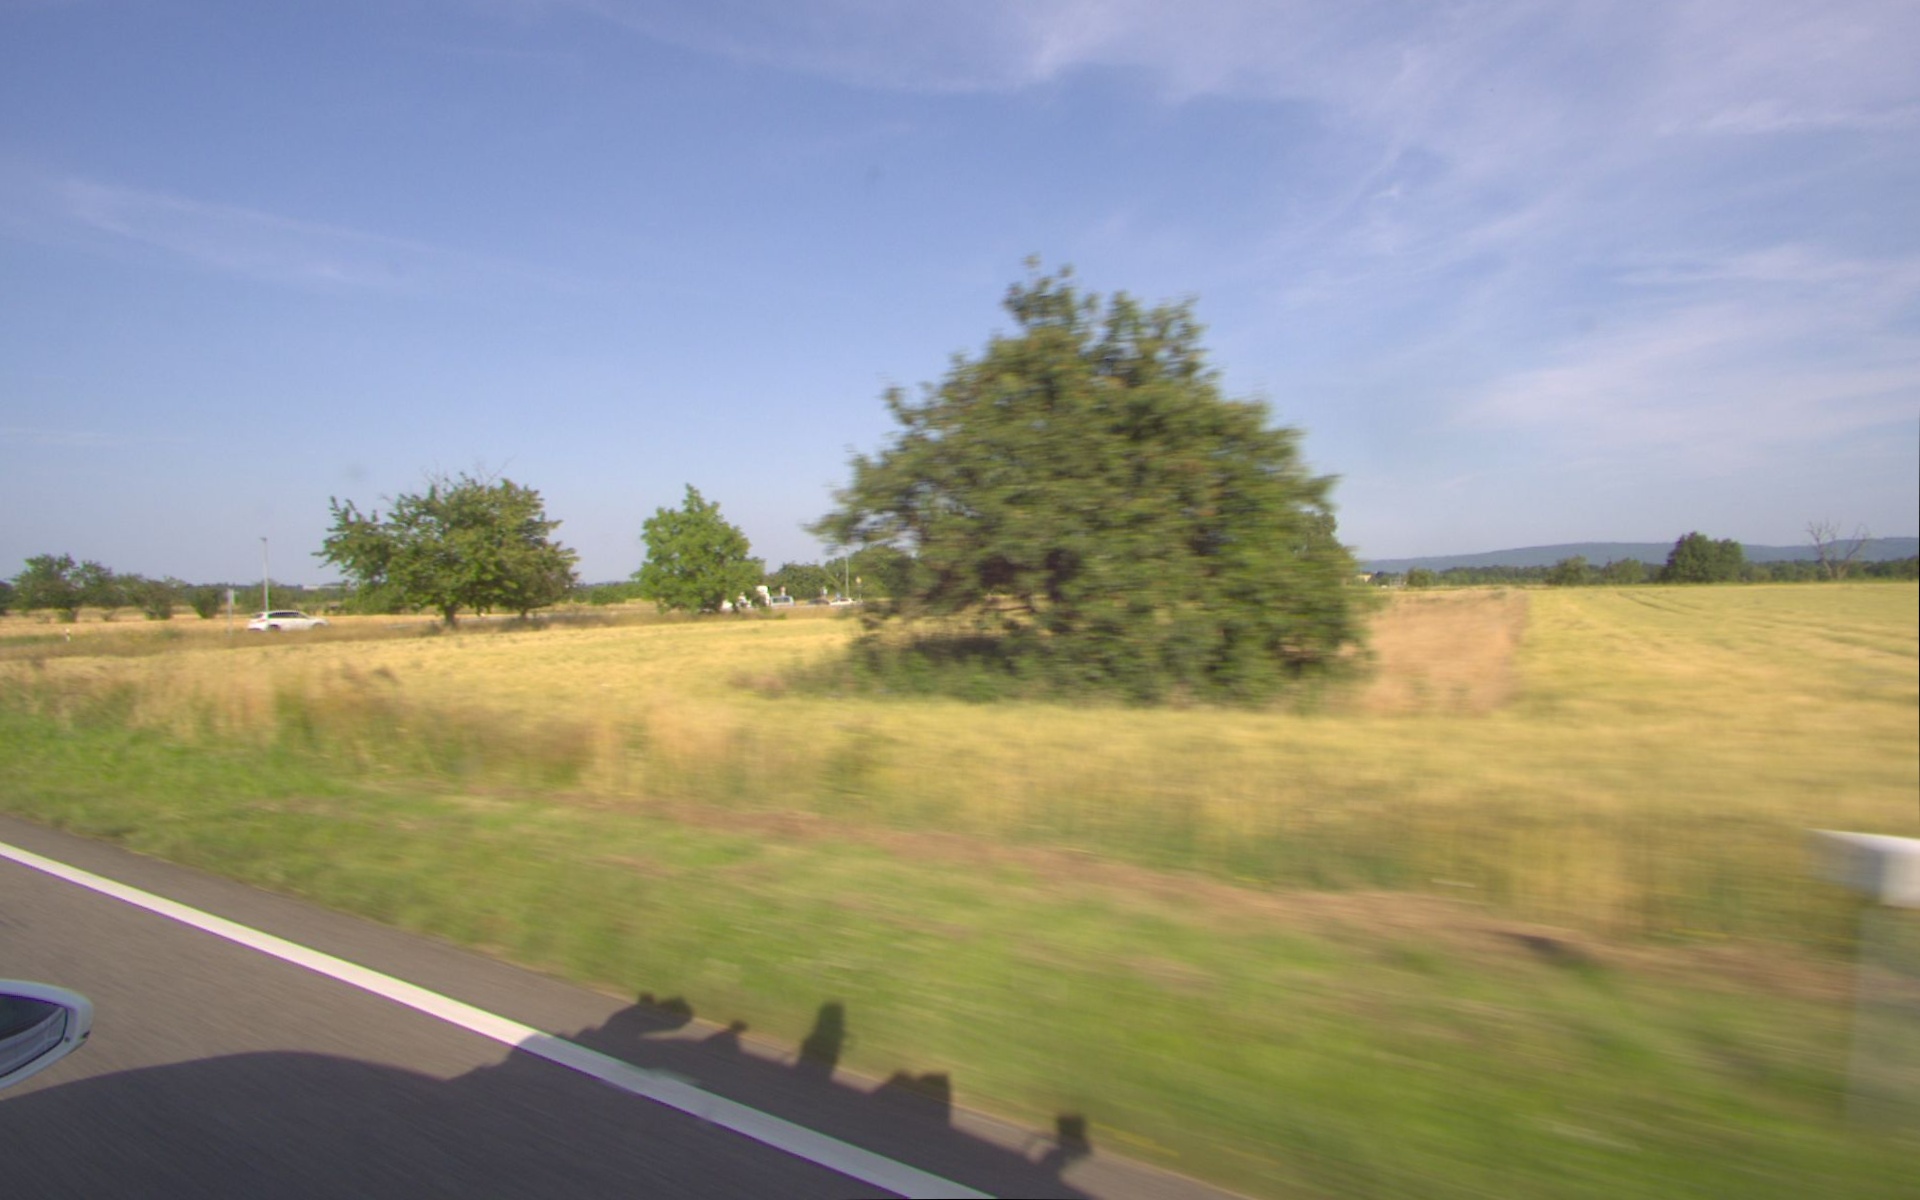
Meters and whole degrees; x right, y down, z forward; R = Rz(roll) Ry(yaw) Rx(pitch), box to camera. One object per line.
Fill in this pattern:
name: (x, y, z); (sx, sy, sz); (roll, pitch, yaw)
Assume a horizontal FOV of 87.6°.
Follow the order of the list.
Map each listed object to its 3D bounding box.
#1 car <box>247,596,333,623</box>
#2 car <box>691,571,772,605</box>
car: (-40.884, 0.592, 61.174); (1.837, 1.619, 3.974); (0, -1, 36)
car: (-20.496, -1.031, 90.012); (2.296, 2.832, 6.975); (0, -1, 44)
